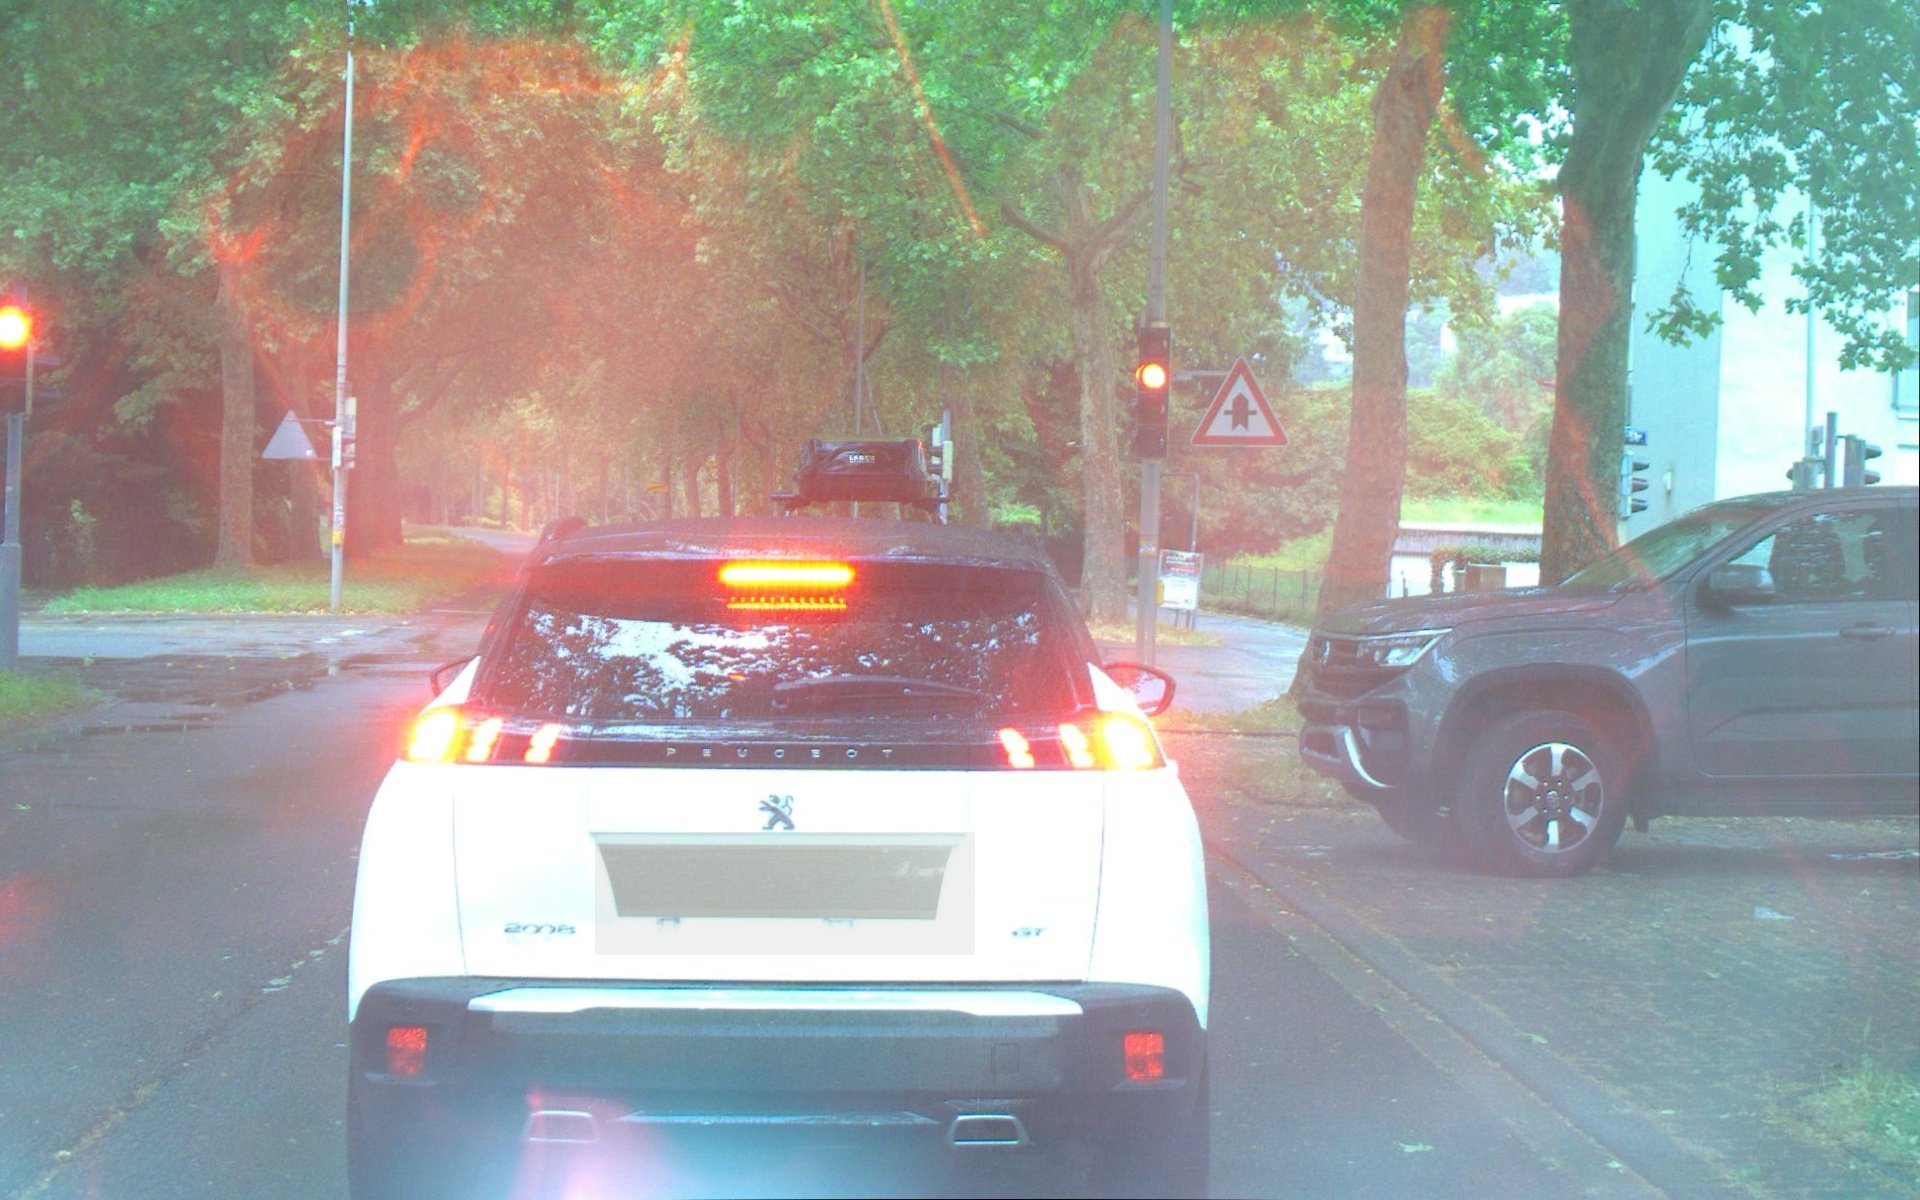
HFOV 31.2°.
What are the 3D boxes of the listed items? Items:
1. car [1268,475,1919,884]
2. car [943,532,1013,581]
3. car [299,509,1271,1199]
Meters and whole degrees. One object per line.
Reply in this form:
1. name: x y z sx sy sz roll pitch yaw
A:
1. car: 4.315 0.370 16.522 5.337 1.800 1.846 1 1 -7
2. car: 0.567 -1.421 112.415 1.905 1.504 3.932 2 1 -5
3. car: -0.364 0.564 8.420 1.780 1.531 4.058 1 1 -1
